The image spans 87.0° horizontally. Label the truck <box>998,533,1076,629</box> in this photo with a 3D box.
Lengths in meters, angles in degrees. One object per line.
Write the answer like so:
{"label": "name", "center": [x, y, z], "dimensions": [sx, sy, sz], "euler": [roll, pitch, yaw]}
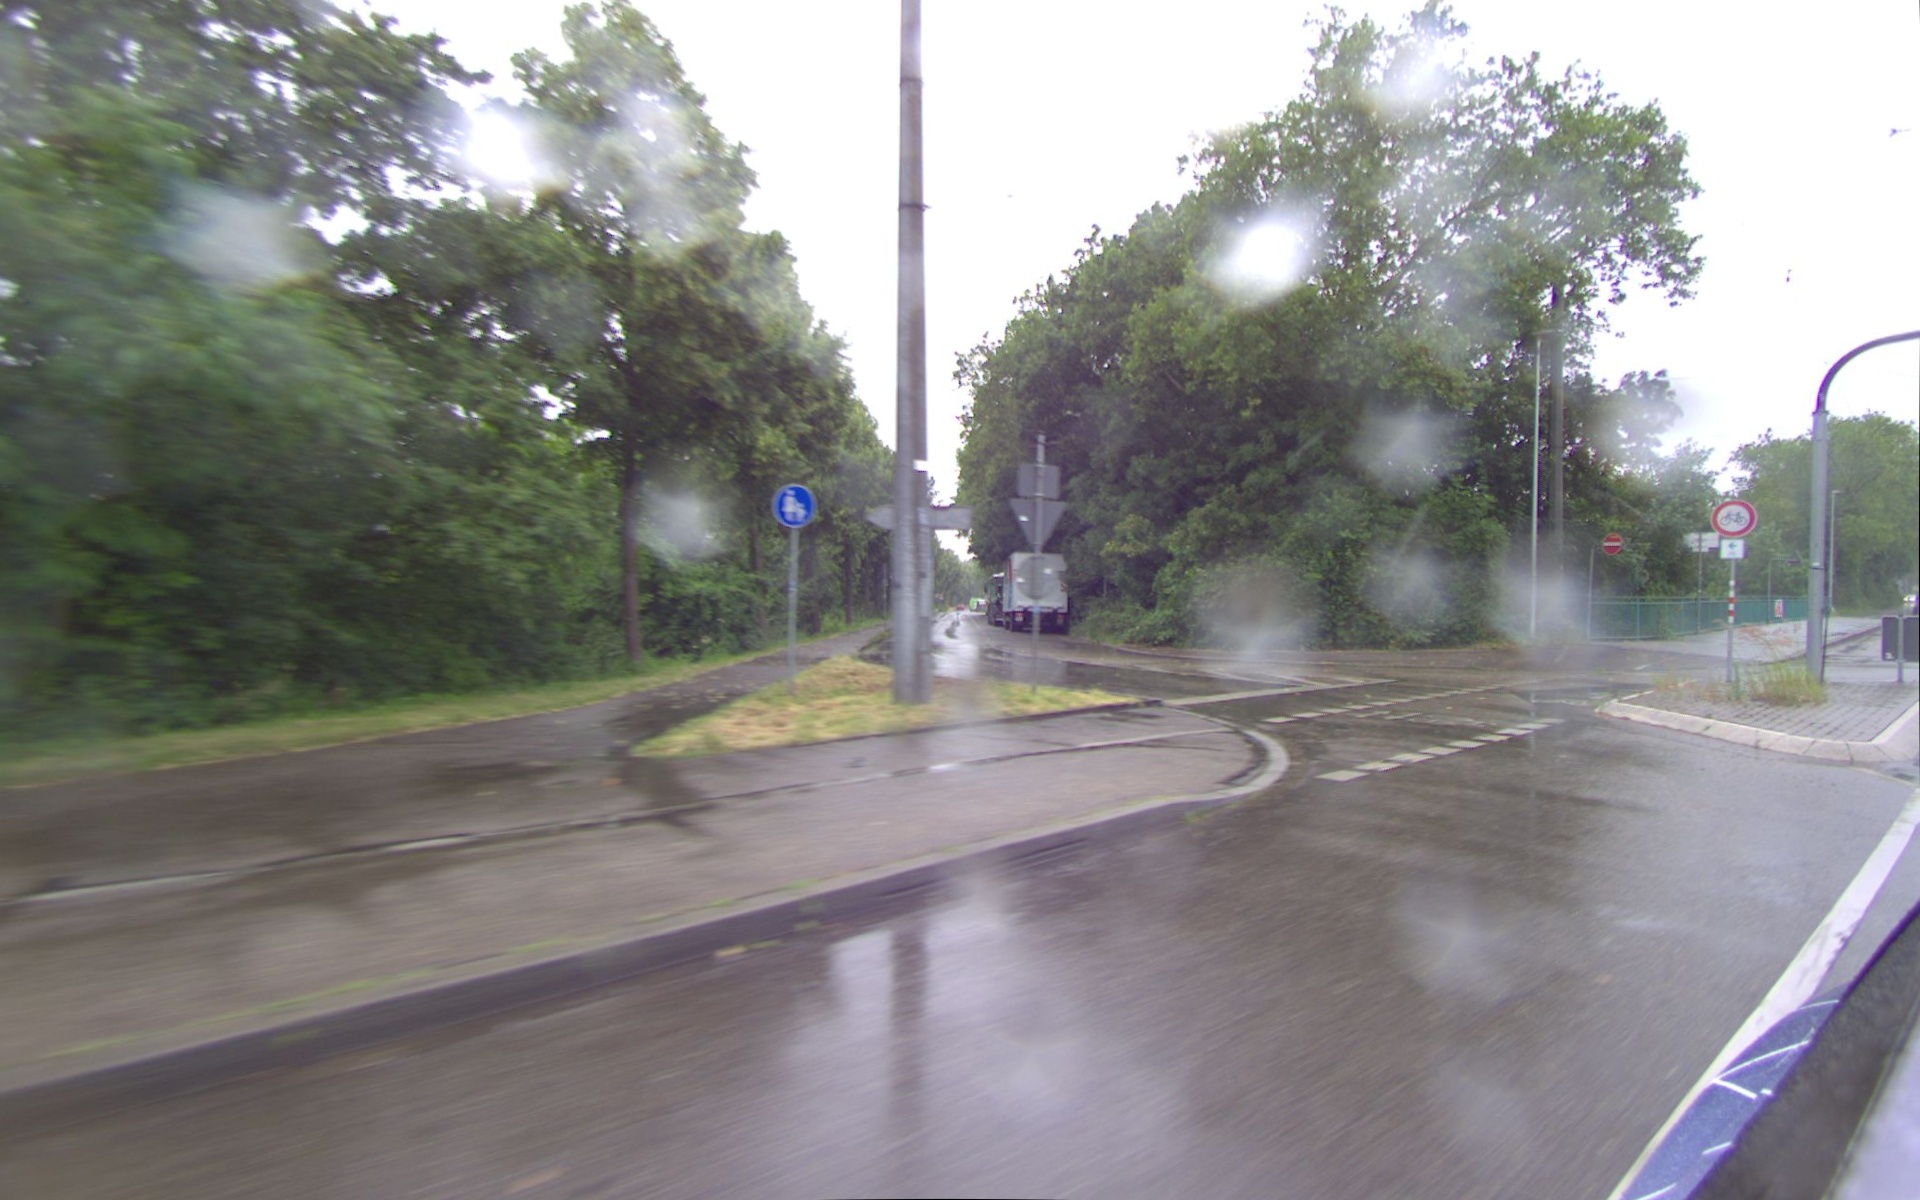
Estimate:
{"label": "truck", "center": [3.628, -0.877, 49.774], "dimensions": [2.959, 4.286, 8.374], "euler": [-1, 0, -1]}

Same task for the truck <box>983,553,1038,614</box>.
{"label": "truck", "center": [2.951, -0.939, 61.559], "dimensions": [2.493, 3.401, 8.545], "euler": [-1, 0, -3]}
